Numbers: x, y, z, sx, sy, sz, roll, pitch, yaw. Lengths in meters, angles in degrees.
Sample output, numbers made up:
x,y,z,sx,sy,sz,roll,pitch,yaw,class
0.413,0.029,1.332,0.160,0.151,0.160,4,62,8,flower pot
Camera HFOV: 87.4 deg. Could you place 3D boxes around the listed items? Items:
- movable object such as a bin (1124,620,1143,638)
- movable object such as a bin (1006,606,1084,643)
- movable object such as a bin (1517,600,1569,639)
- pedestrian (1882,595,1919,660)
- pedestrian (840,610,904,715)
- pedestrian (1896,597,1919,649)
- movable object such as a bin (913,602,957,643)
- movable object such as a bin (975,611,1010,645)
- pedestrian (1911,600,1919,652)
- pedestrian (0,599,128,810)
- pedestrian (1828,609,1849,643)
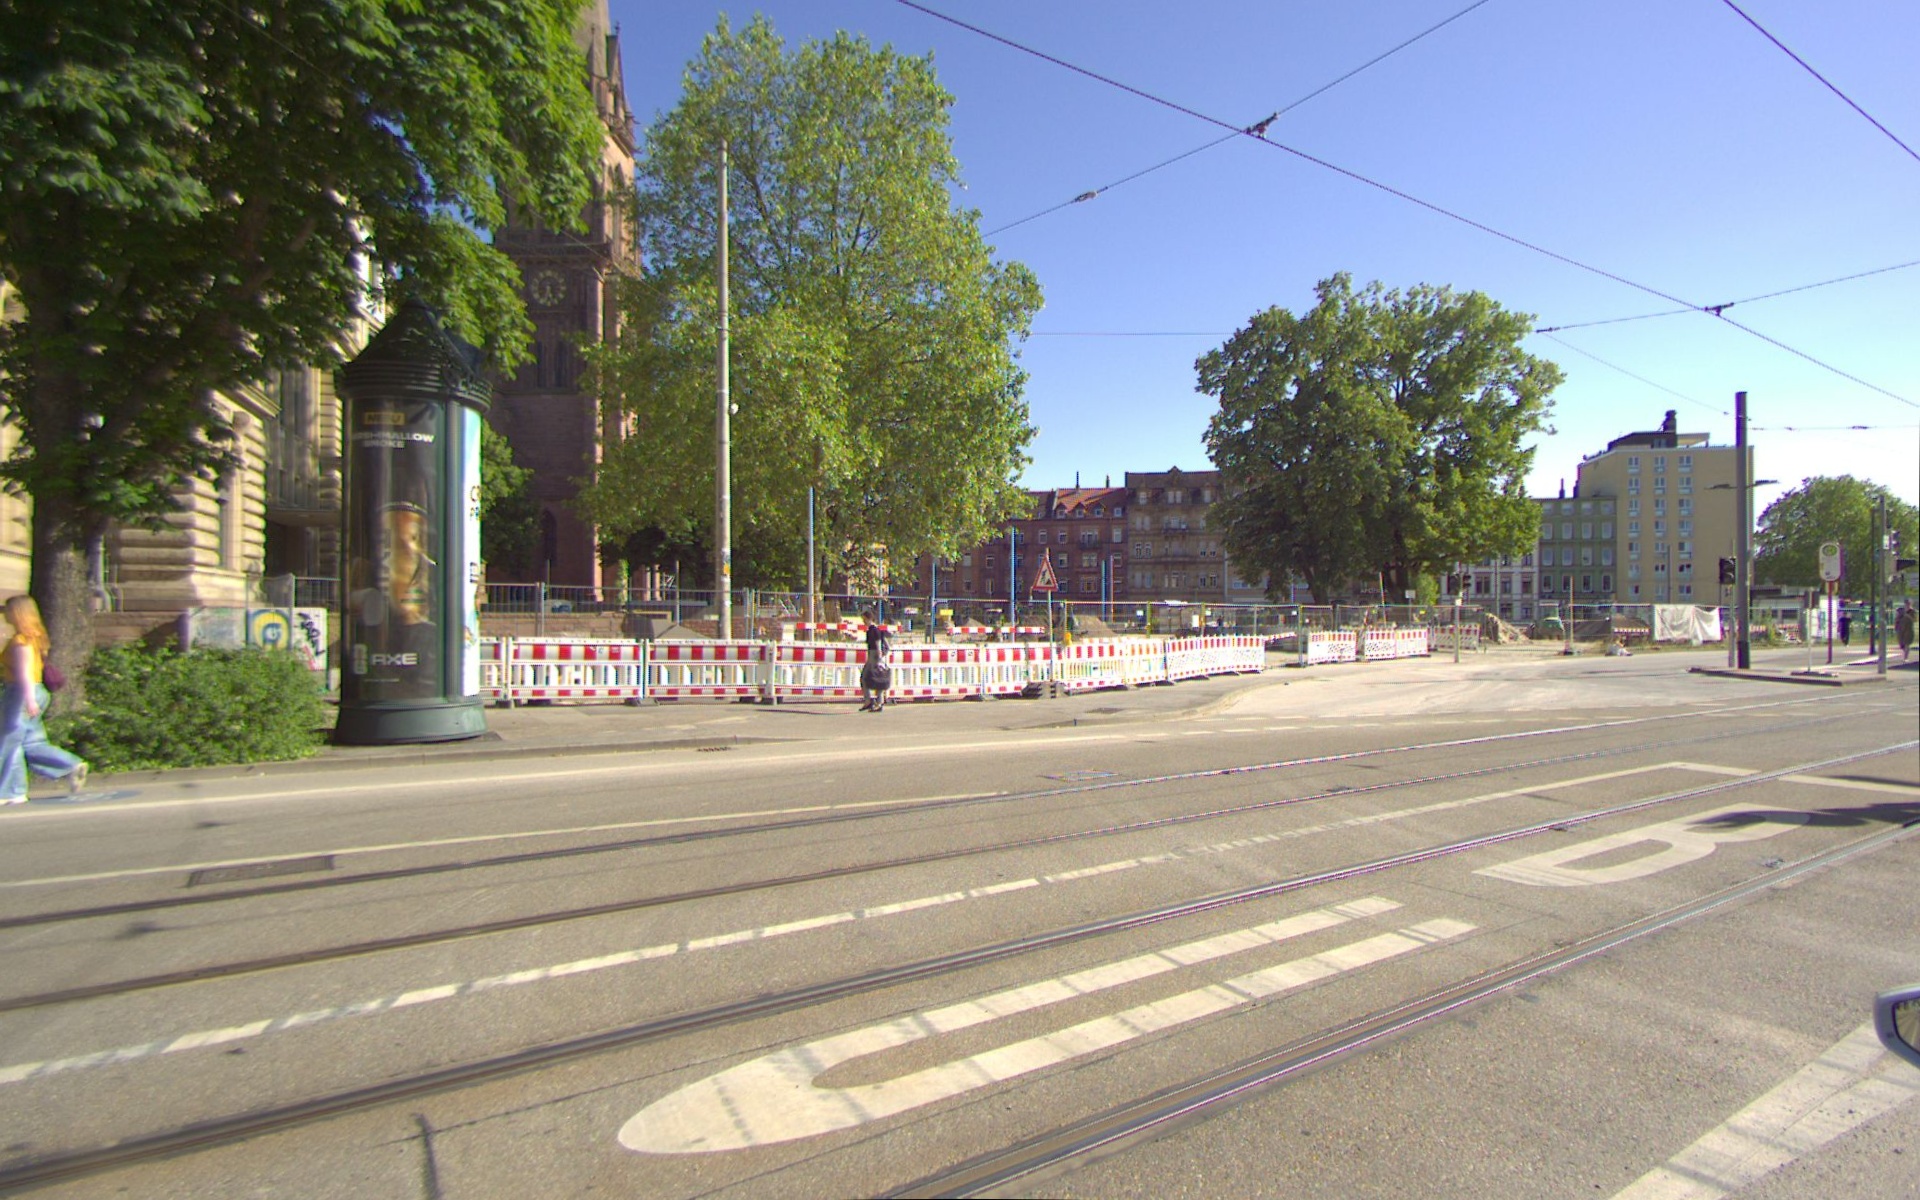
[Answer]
x,y,z,sx,sy,sz,roll,pitch,yaw,class
17.763,2.945,102.759,1.715,1.702,3.803,-1,-1,12,movable object such as a bin
6.751,1.929,79.665,5.962,2.796,1.895,1,0,8,movable object such as a bin
44.352,1.456,76.482,1.796,2.833,4.002,1,0,5,movable object such as a bin
28.089,0.812,29.910,0.893,1.875,0.756,-2,1,-35,pedestrian
-1.471,1.041,16.808,0.834,1.691,0.726,3,-2,-22,pedestrian
38.232,0.909,40.097,0.986,2.040,0.957,1,0,-27,pedestrian
-2.036,1.865,85.107,3.056,3.215,5.250,1,0,5,movable object such as a bin
2.405,1.984,72.666,1.856,2.377,4.232,1,0,10,movable object such as a bin
34.084,0.906,35.260,0.851,1.791,0.970,-1,-1,35,pedestrian
-7.775,0.853,8.505,1.023,1.691,0.764,1,-2,-35,pedestrian
46.322,1.364,52.950,0.792,1.791,0.663,0,-1,-35,pedestrian
